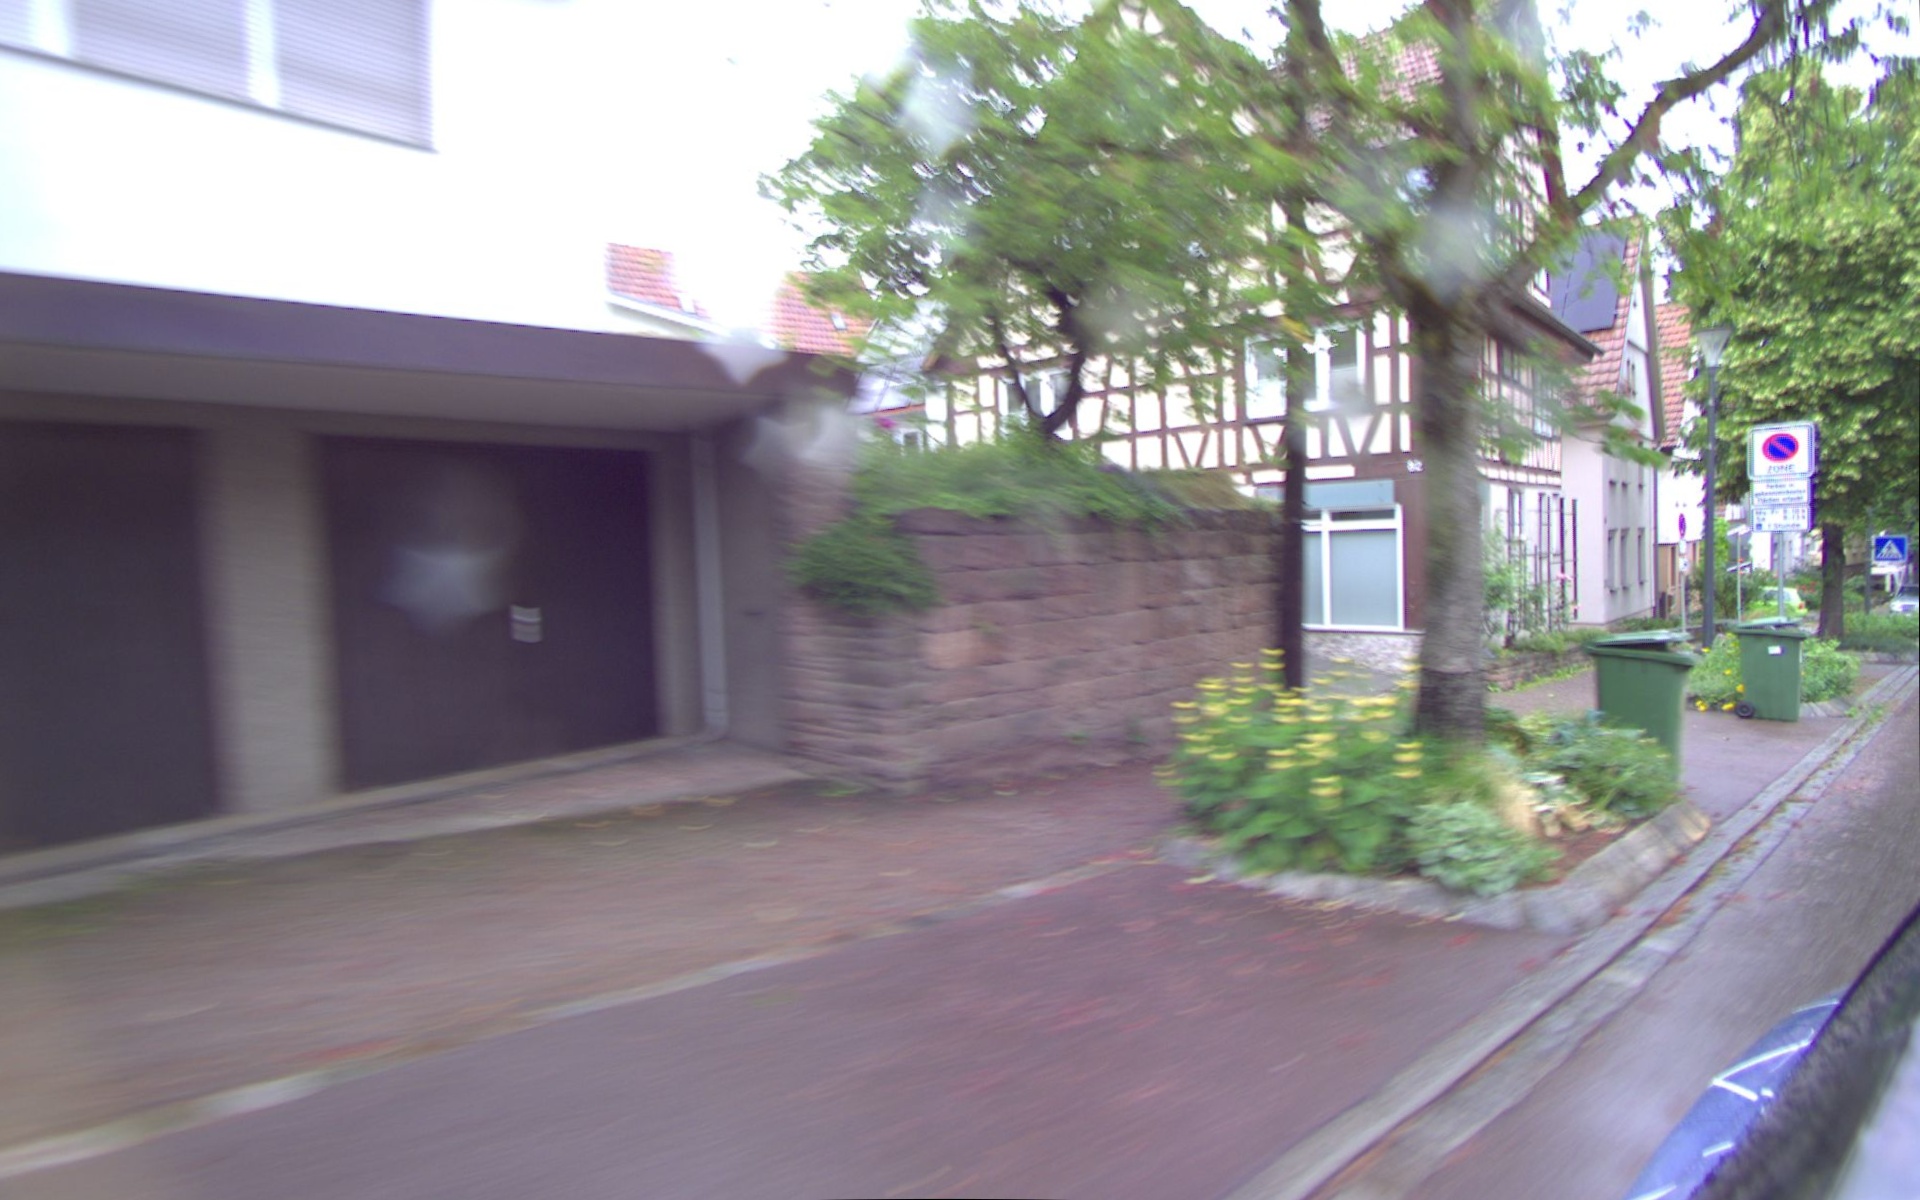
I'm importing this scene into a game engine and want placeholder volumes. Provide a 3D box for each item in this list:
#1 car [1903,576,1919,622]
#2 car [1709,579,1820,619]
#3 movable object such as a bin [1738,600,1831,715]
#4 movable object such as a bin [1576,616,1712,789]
[{"bbox_3d":[39.826,-0.054,41.114,4.413,1.814,1.916,-1,2,-43],"label":"car"},{"bbox_3d":[32.744,-0.072,41.247,3.366,1.448,1.605,4,3,44],"label":"car"},{"bbox_3d":[9.313,0.621,11.433,0.715,1.228,0.722,-1,1,-42],"label":"movable object such as a bin"},{"bbox_3d":[5.082,0.719,7.519,0.723,1.157,0.692,1,1,45],"label":"movable object such as a bin"}]
